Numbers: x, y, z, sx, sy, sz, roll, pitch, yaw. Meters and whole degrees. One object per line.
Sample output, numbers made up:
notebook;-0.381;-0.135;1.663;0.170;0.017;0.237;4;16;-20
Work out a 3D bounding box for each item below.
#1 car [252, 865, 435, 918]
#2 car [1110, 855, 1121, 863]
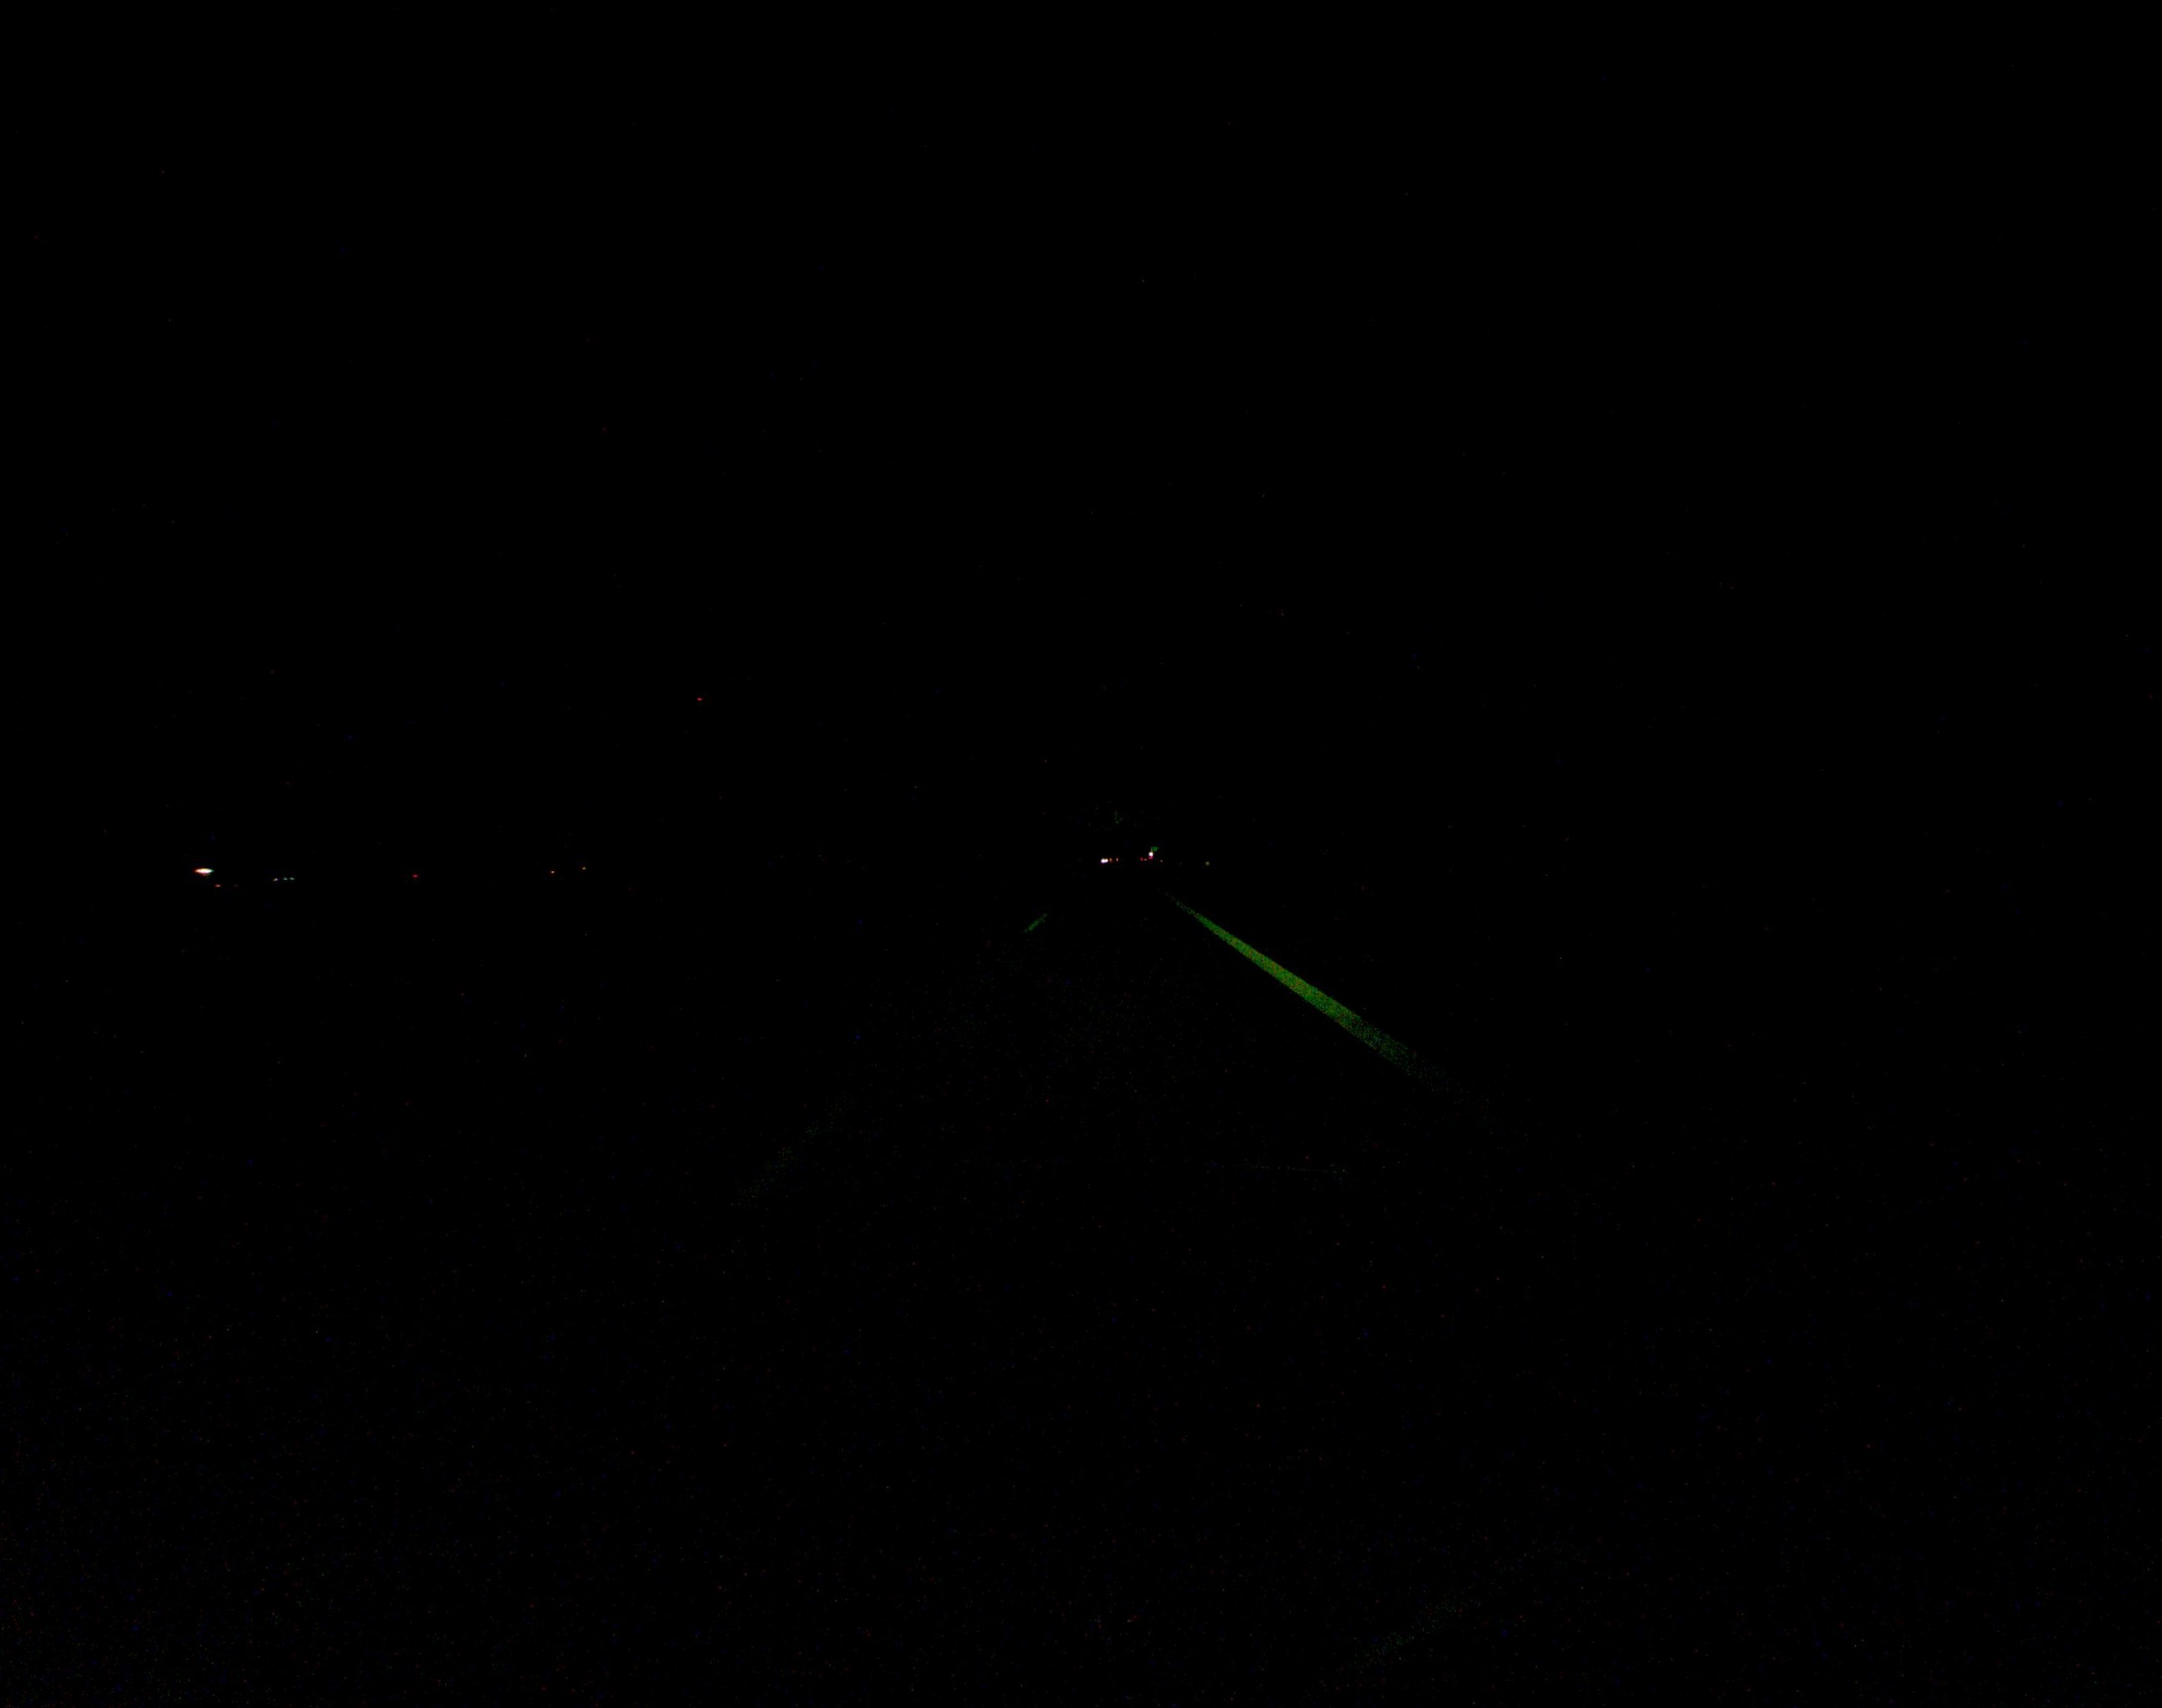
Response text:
car;-22.268;1.083;24.847;1.834;1.420;4.002;-1;0;2
car;9.628;1.437;226.837;2.499;2.314;4.977;-1;-1;5
